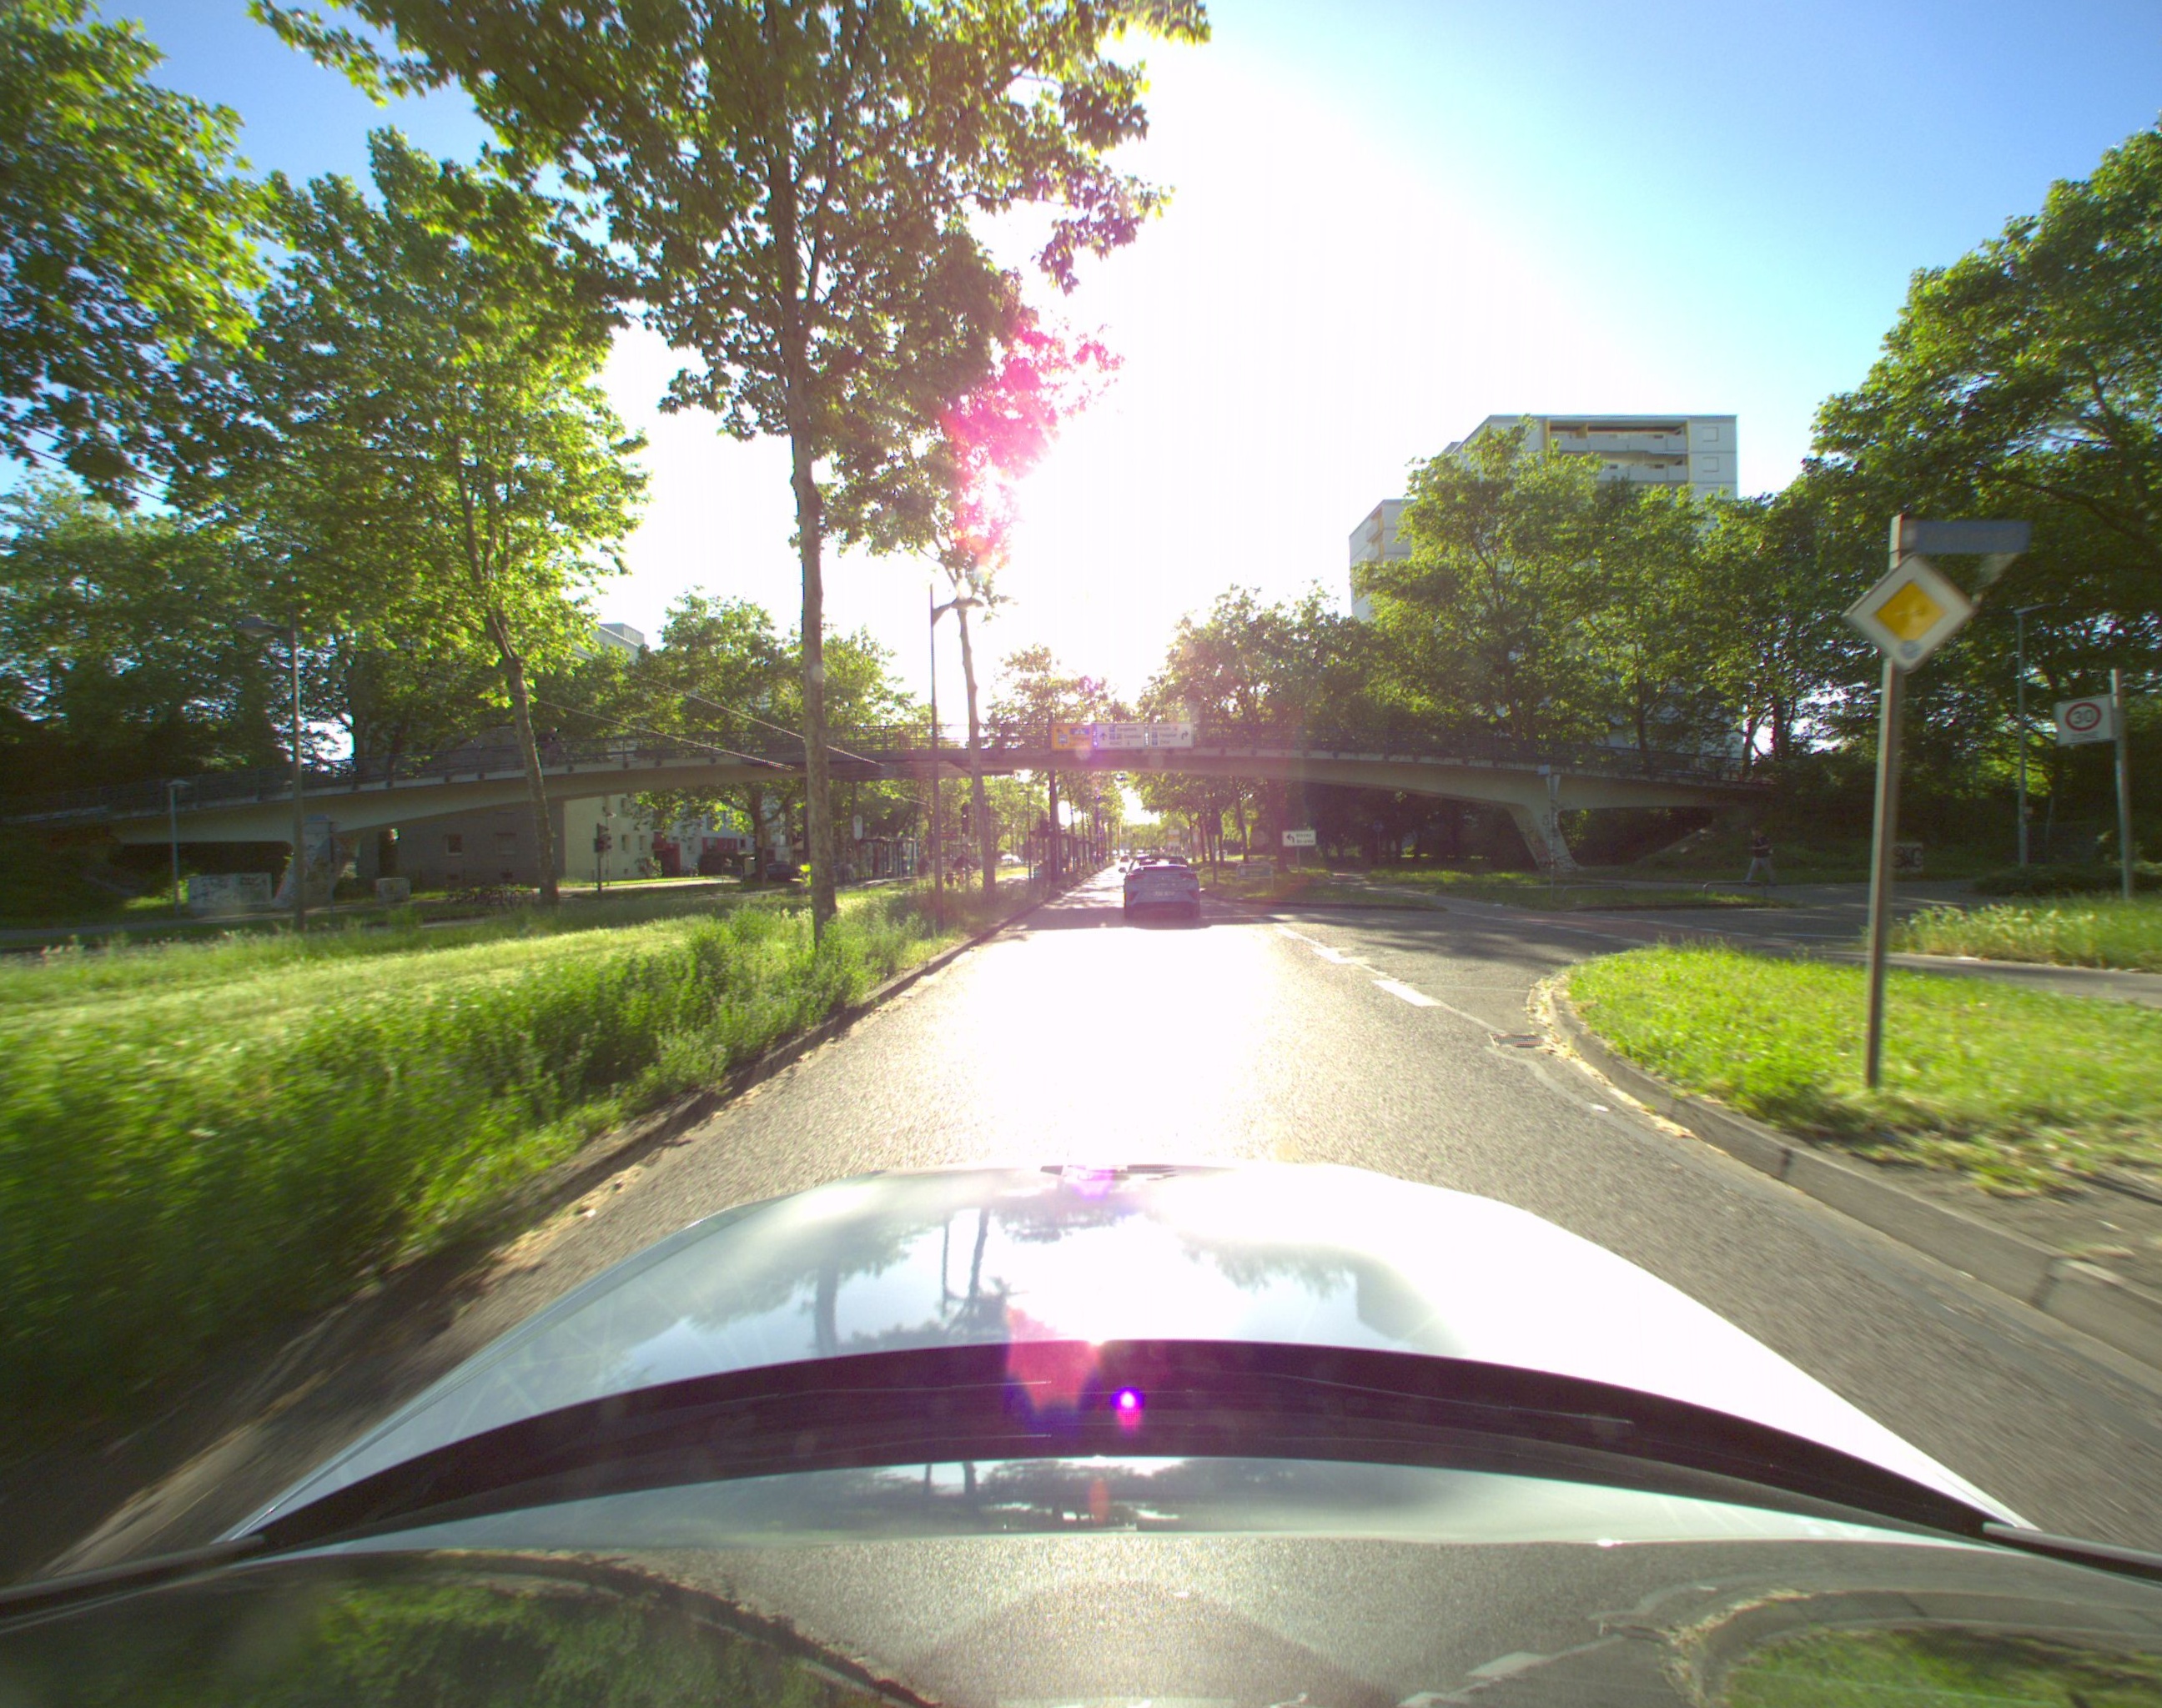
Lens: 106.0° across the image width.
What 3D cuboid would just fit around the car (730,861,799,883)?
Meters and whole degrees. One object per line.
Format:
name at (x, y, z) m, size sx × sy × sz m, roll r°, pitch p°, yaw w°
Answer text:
car at (-22.134, 1.242, 56.959) m, size 4.218 × 1.428 × 1.682 m, roll 0°, pitch 1°, yaw -36°

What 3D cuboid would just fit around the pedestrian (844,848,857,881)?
pedestrian at (-12.411, 0.584, 43.814) m, size 0.506 × 1.770 × 0.478 m, roll 0°, pitch -1°, yaw -38°

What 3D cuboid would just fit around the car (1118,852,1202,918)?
car at (1.888, 0.696, 20.471) m, size 1.770 × 1.483 × 4.101 m, roll 1°, pitch 0°, yaw 1°

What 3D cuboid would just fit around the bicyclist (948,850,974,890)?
bicyclist at (-5.032, 0.663, 34.266) m, size 0.950 × 1.632 × 0.815 m, roll 0°, pitch 0°, yaw 2°

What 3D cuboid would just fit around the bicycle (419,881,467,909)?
bicycle at (-24.356, 1.550, 31.135) m, size 0.432 × 1.009 × 1.688 m, roll 0°, pitch 0°, yaw 3°

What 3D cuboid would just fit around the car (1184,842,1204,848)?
car at (25.577, -2.003, 184.151) m, size 3.949 × 1.338 × 1.739 m, roll 0°, pitch -1°, yaw 29°

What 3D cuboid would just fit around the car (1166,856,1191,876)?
car at (8.939, 1.073, 75.059) m, size 1.973 × 1.792 × 4.617 m, roll 0°, pitch -1°, yaw 3°

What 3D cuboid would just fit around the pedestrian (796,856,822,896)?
pedestrian at (-11.525, 0.934, 34.514) m, size 0.723 × 1.674 × 1.048 m, roll 0°, pitch -1°, yaw -1°

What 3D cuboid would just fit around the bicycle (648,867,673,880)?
bicycle at (-33.599, 1.559, 65.149) m, size 0.693 × 0.928 × 2.595 m, roll 0°, pitch 1°, yaw 0°

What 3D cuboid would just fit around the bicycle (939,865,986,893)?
bicycle at (-4.973, 1.054, 34.262) m, size 1.824 × 1.147 × 0.815 m, roll 0°, pitch 0°, yaw 2°

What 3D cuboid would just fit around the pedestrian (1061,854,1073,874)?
pedestrian at (-0.895, 0.654, 51.658) m, size 0.732 × 1.252 × 0.587 m, roll 0°, pitch -1°, yaw -3°

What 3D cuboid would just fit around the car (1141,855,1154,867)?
car at (8.824, 0.880, 108.648) m, size 1.632 × 1.494 × 3.505 m, roll 0°, pitch 0°, yaw 2°

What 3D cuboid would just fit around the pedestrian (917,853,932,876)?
pedestrian at (-10.514, 0.706, 54.651) m, size 0.675 × 1.514 × 0.648 m, roll -3°, pitch -1°, yaw 30°

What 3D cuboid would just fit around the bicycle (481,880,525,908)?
bicycle at (-22.485, 1.549, 31.722) m, size 0.432 × 1.009 × 1.688 m, roll 0°, pitch 0°, yaw 3°

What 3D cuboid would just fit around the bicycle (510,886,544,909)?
bicycle at (-21.116, 1.650, 31.057) m, size 0.432 × 0.779 × 1.175 m, roll 0°, pitch 0°, yaw 3°

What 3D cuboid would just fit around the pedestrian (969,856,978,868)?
pedestrian at (-10.566, 0.812, 79.926) m, size 0.691 × 1.127 × 0.662 m, roll -4°, pitch -1°, yaw 4°

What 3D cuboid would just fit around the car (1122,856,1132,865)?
car at (7.968, 1.119, 141.466) m, size 1.704 × 1.603 × 3.352 m, roll -1°, pitch -1°, yaw 2°

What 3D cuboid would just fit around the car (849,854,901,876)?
car at (-20.132, 1.074, 79.641) m, size 4.519 × 2.063 × 1.879 m, roll 0°, pitch 1°, yaw -36°

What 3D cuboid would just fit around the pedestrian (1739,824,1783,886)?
pedestrian at (19.865, 0.021, 23.791) m, size 0.657 × 1.777 × 0.738 m, roll -2°, pitch 1°, yaw -7°

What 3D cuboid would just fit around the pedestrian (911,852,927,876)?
pedestrian at (-11.181, 0.681, 56.107) m, size 0.706 × 1.634 × 0.736 m, roll -3°, pitch -1°, yaw 44°

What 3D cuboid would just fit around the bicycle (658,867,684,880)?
bicycle at (-32.764, 1.557, 65.113) m, size 0.693 × 0.928 × 2.595 m, roll 0°, pitch 1°, yaw 0°

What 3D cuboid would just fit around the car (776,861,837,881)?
car at (-21.393, 1.297, 63.564) m, size 4.218 × 1.428 × 1.682 m, roll 0°, pitch 1°, yaw -36°

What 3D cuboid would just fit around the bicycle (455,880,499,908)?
bicycle at (-23.892, 1.558, 32.254) m, size 0.432 × 1.009 × 1.688 m, roll 0°, pitch 0°, yaw 3°
